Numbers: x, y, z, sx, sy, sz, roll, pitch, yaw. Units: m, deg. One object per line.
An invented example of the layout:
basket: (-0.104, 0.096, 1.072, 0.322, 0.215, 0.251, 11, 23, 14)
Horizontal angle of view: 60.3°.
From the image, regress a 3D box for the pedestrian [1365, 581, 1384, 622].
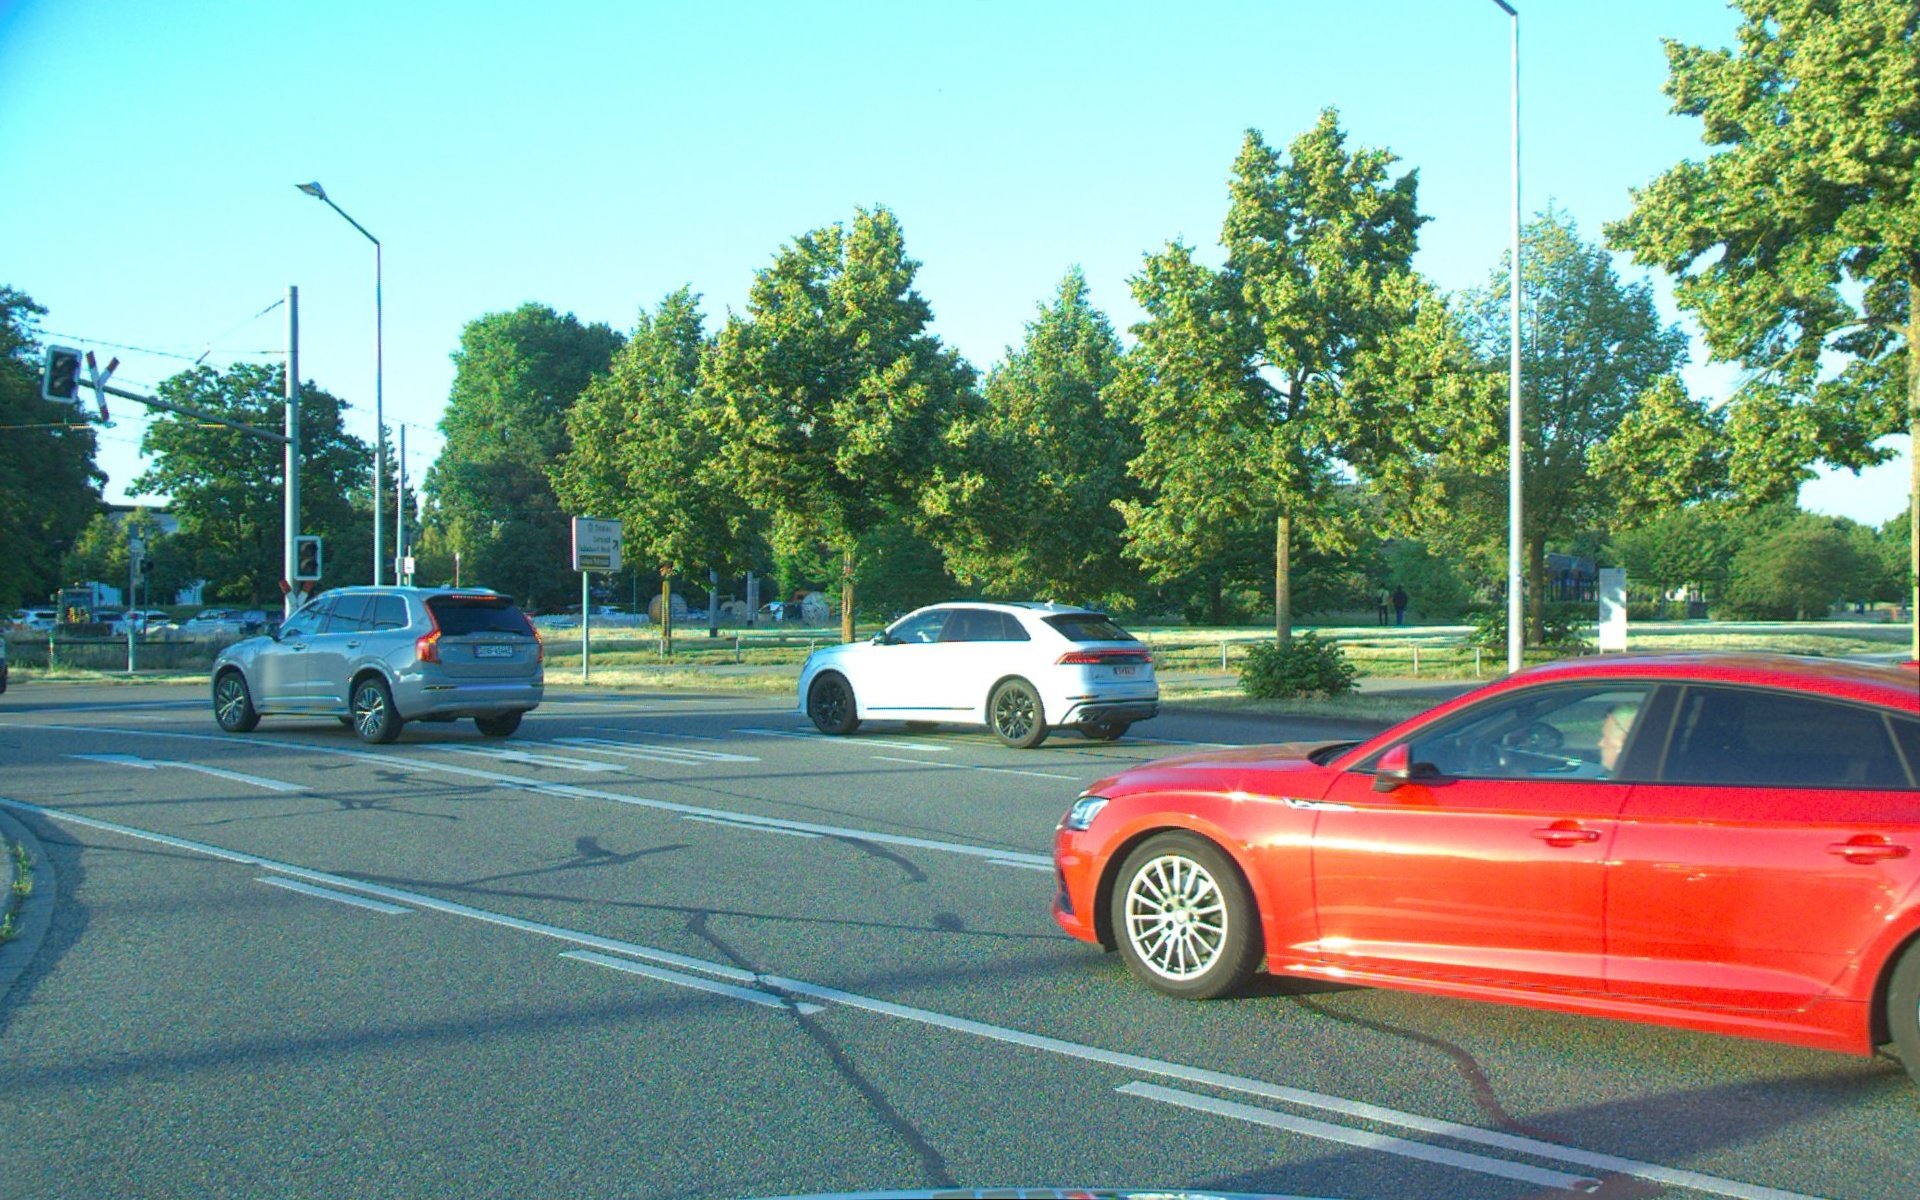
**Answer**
pedestrian: (16.682, 0.060, 66.571, 0.522, 1.655, 0.578, 0, 0, 37)

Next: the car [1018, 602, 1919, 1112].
car: (2.614, 0.780, 6.156, 4.483, 1.486, 1.841, 1, 0, 32)

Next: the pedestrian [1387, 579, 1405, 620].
pedestrian: (17.535, -0.010, 66.579, 0.519, 1.655, 0.618, 0, 0, 34)
